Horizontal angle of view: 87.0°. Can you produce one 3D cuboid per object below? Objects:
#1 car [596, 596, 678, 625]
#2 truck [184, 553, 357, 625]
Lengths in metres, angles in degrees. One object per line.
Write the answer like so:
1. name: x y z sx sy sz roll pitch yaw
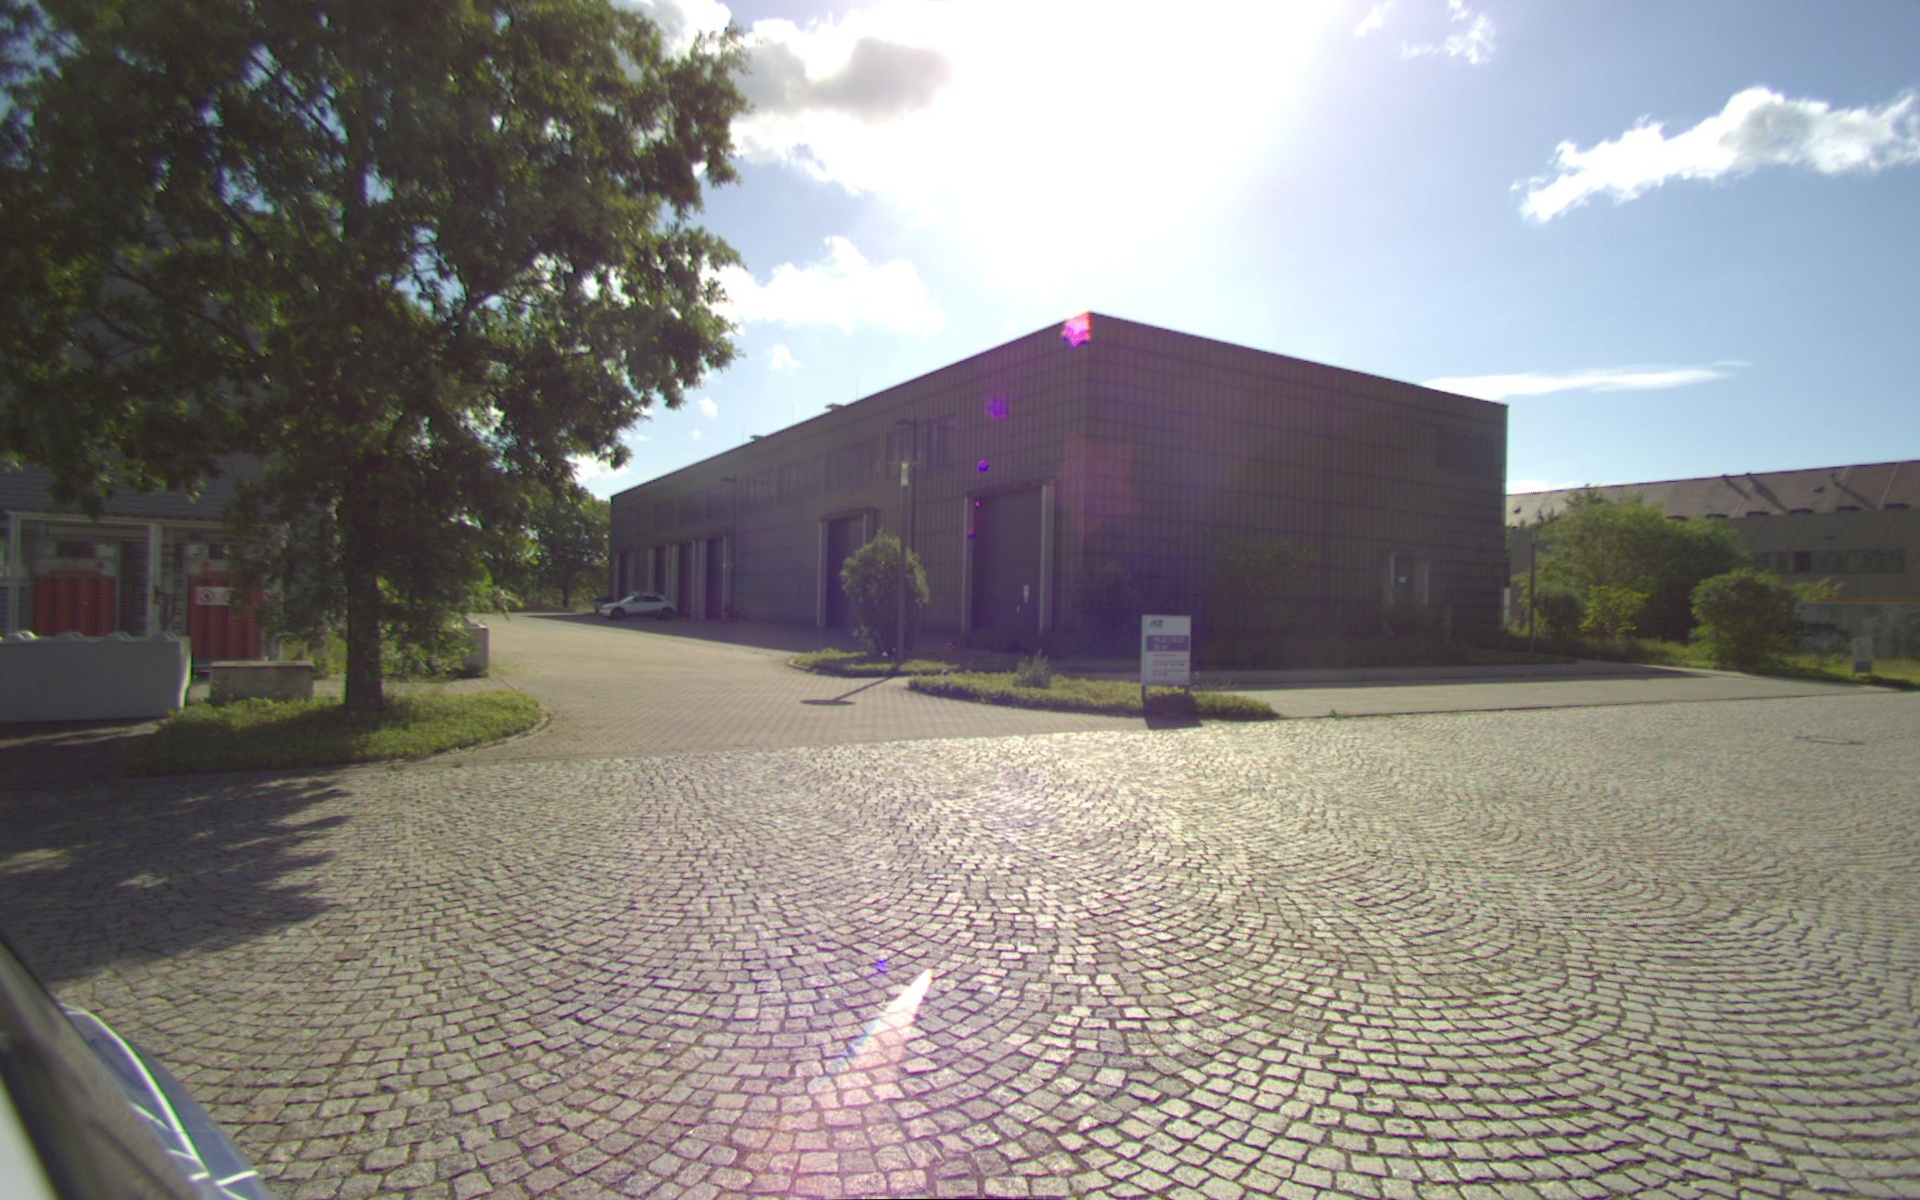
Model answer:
1. car: -20.017 0.640 62.740 4.502 1.675 2.006 2 -1 -32
2. truck: -39.301 -0.524 58.099 7.964 3.847 2.658 1 -1 -31
